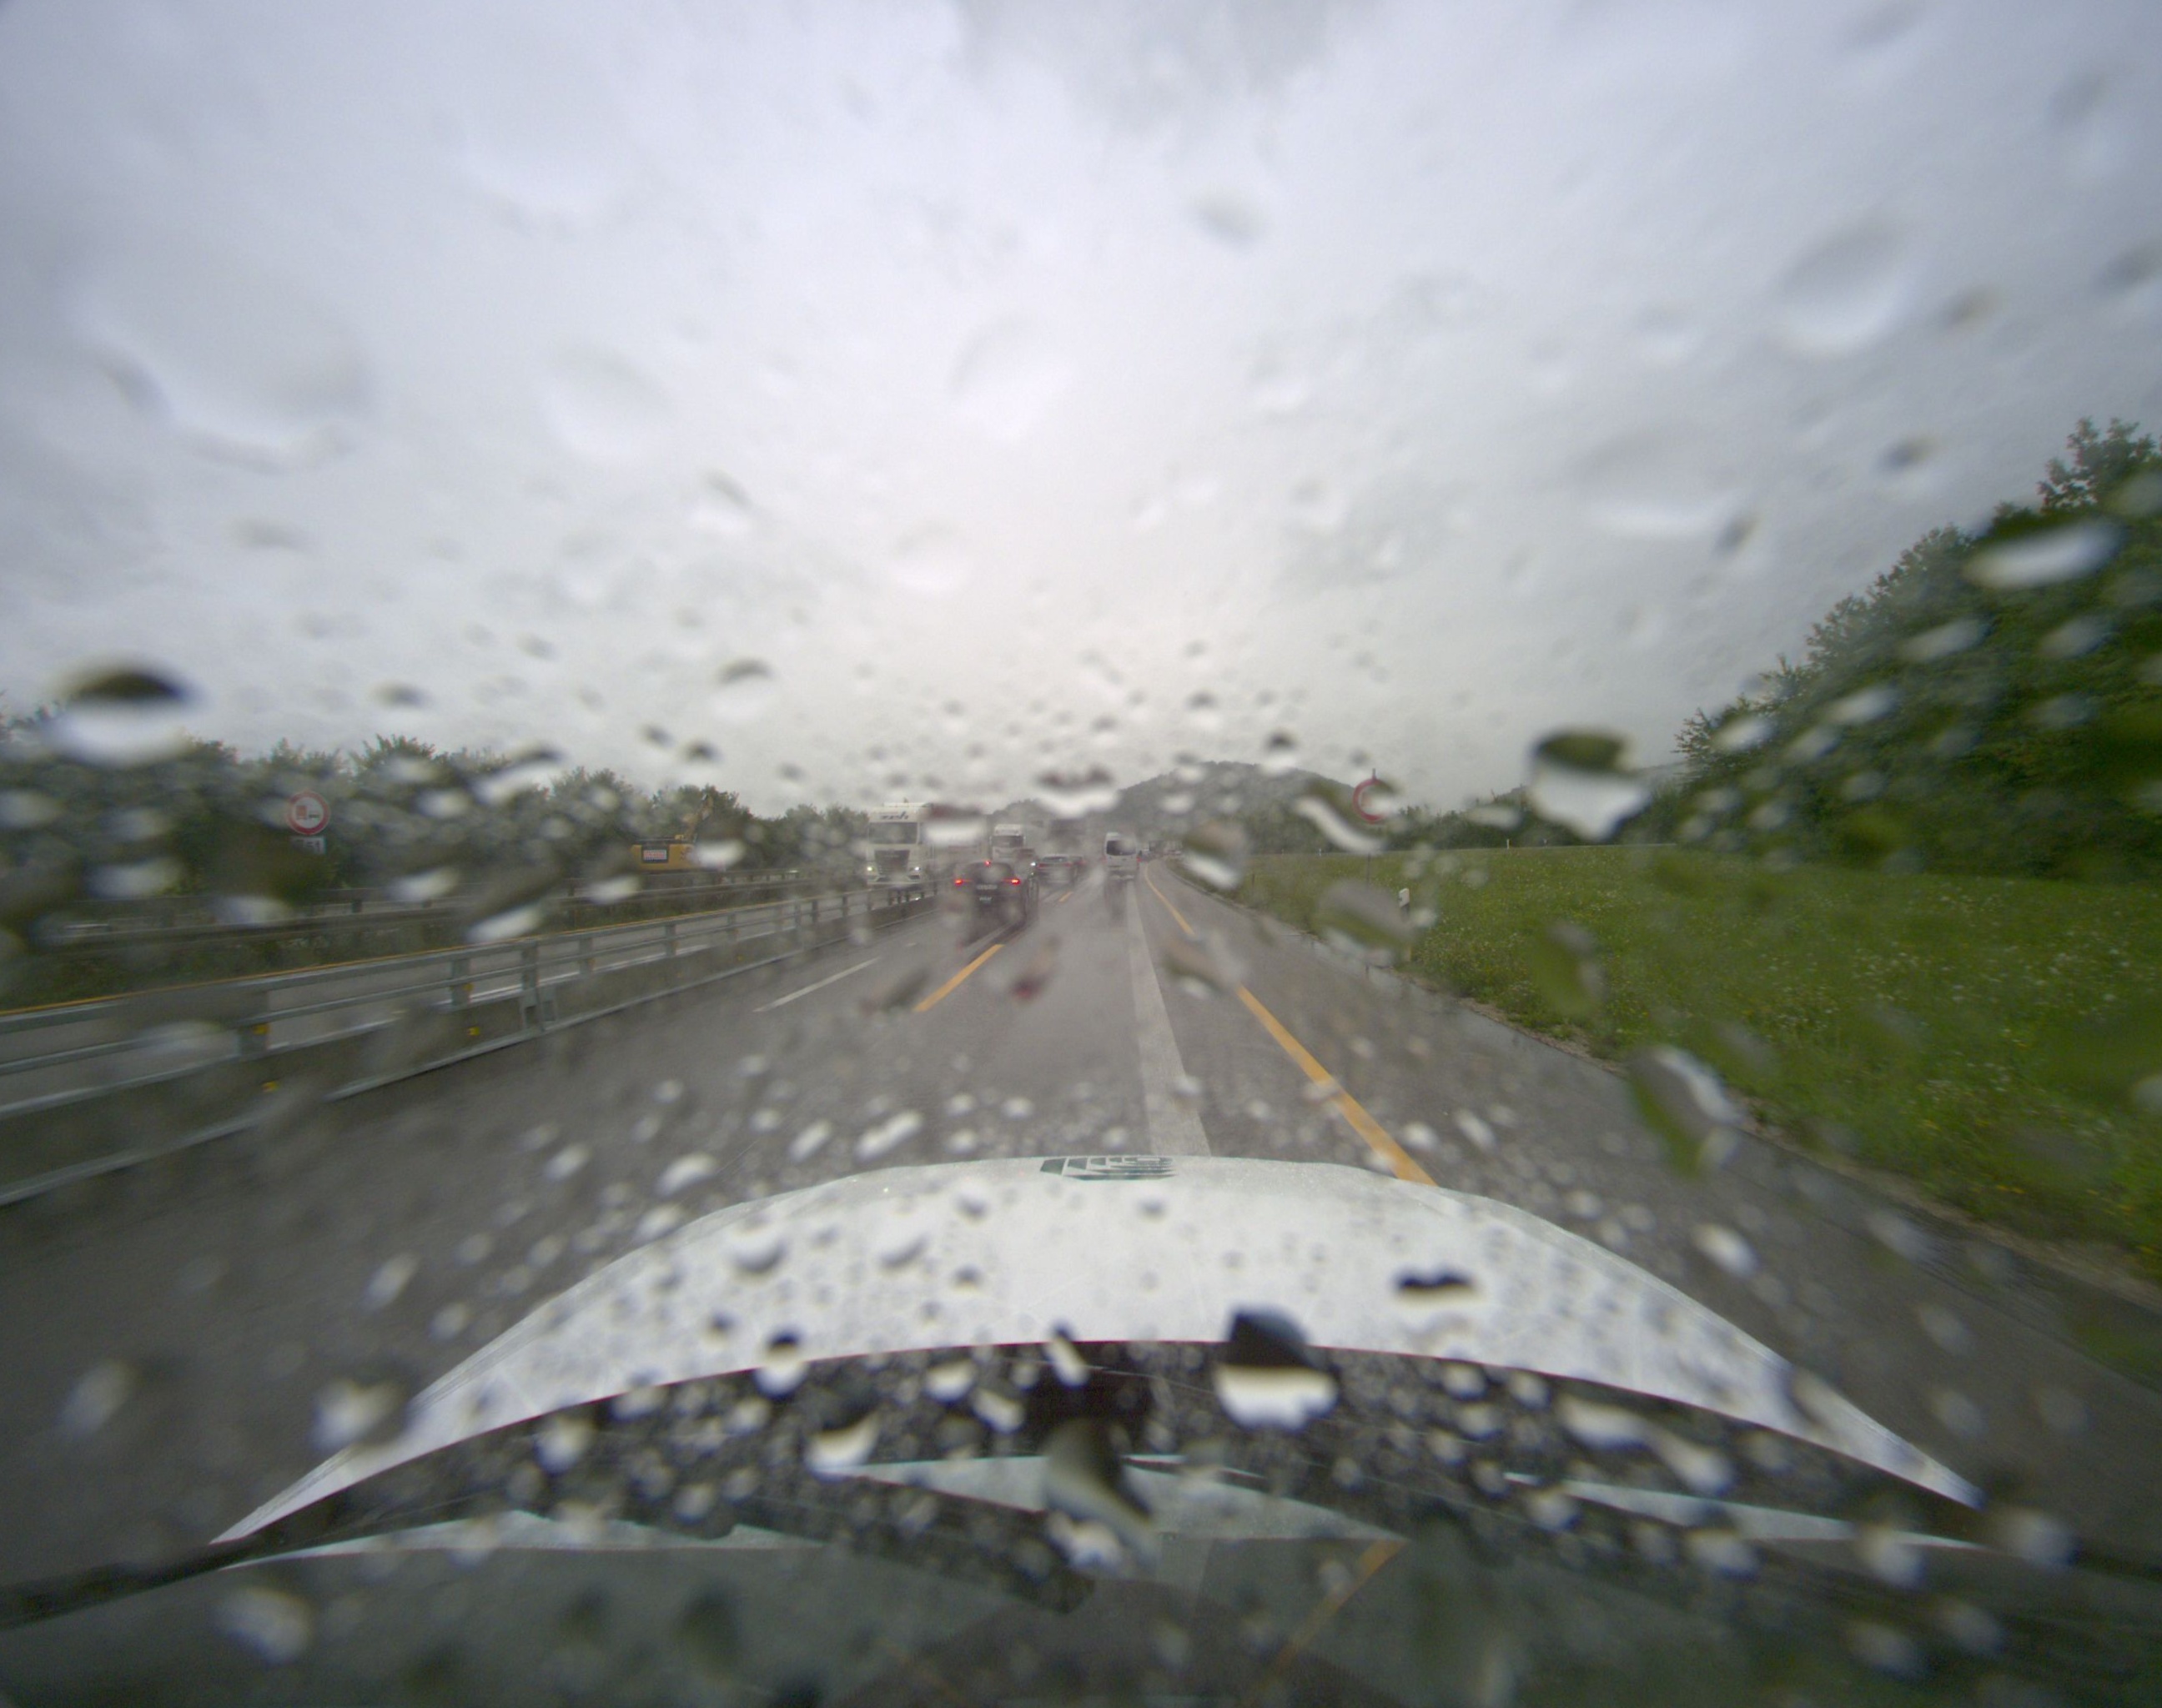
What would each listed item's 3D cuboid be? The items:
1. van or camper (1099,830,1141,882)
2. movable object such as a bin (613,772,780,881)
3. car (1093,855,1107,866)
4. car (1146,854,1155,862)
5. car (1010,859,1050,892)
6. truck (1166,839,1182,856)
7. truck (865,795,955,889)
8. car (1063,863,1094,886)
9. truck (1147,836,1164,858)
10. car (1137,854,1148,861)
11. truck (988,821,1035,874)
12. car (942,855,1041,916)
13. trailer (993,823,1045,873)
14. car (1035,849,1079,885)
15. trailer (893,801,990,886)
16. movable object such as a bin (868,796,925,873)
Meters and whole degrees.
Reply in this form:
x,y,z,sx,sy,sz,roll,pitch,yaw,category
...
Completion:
x,y,z,sx,sy,sz,roll,pitch,yaw,category
2.122,0.124,45.690,2.132,2.721,4.647,-1,0,0,van or camper
-22.903,-1.439,49.673,4.152,5.915,11.058,0,-1,4,movable object such as a bin
1.992,0.656,84.676,1.257,1.078,3.258,-1,0,4,car
11.931,0.640,139.399,1.379,1.256,3.124,-1,0,2,car
-3.178,1.348,51.876,1.985,1.884,4.437,-1,0,3,car
27.637,-1.805,240.900,3.903,4.785,9.936,0,-1,11,truck
-7.913,-0.549,38.469,2.473,4.031,6.455,-1,0,4,truck
-0.128,1.370,56.120,1.844,1.500,4.004,-1,0,4,car
16.337,-1.493,178.266,3.303,4.785,9.924,0,0,6,truck
8.801,0.494,116.989,1.380,1.078,3.122,-1,0,0,car
-5.761,-0.557,68.347,2.871,4.101,6.933,-1,0,3,truck
-2.231,0.749,21.644,1.931,1.427,4.762,0,0,2,car
-5.431,-0.578,73.919,2.895,4.089,12.231,-1,0,3,trailer
-1.168,0.634,41.155,1.860,1.659,3.991,-1,0,3,car
-7.484,-0.582,45.737,2.484,4.049,12.598,-2,0,3,trailer
-20.354,-2.048,90.459,3.578,8.143,8.322,0,-1,6,movable object such as a bin
